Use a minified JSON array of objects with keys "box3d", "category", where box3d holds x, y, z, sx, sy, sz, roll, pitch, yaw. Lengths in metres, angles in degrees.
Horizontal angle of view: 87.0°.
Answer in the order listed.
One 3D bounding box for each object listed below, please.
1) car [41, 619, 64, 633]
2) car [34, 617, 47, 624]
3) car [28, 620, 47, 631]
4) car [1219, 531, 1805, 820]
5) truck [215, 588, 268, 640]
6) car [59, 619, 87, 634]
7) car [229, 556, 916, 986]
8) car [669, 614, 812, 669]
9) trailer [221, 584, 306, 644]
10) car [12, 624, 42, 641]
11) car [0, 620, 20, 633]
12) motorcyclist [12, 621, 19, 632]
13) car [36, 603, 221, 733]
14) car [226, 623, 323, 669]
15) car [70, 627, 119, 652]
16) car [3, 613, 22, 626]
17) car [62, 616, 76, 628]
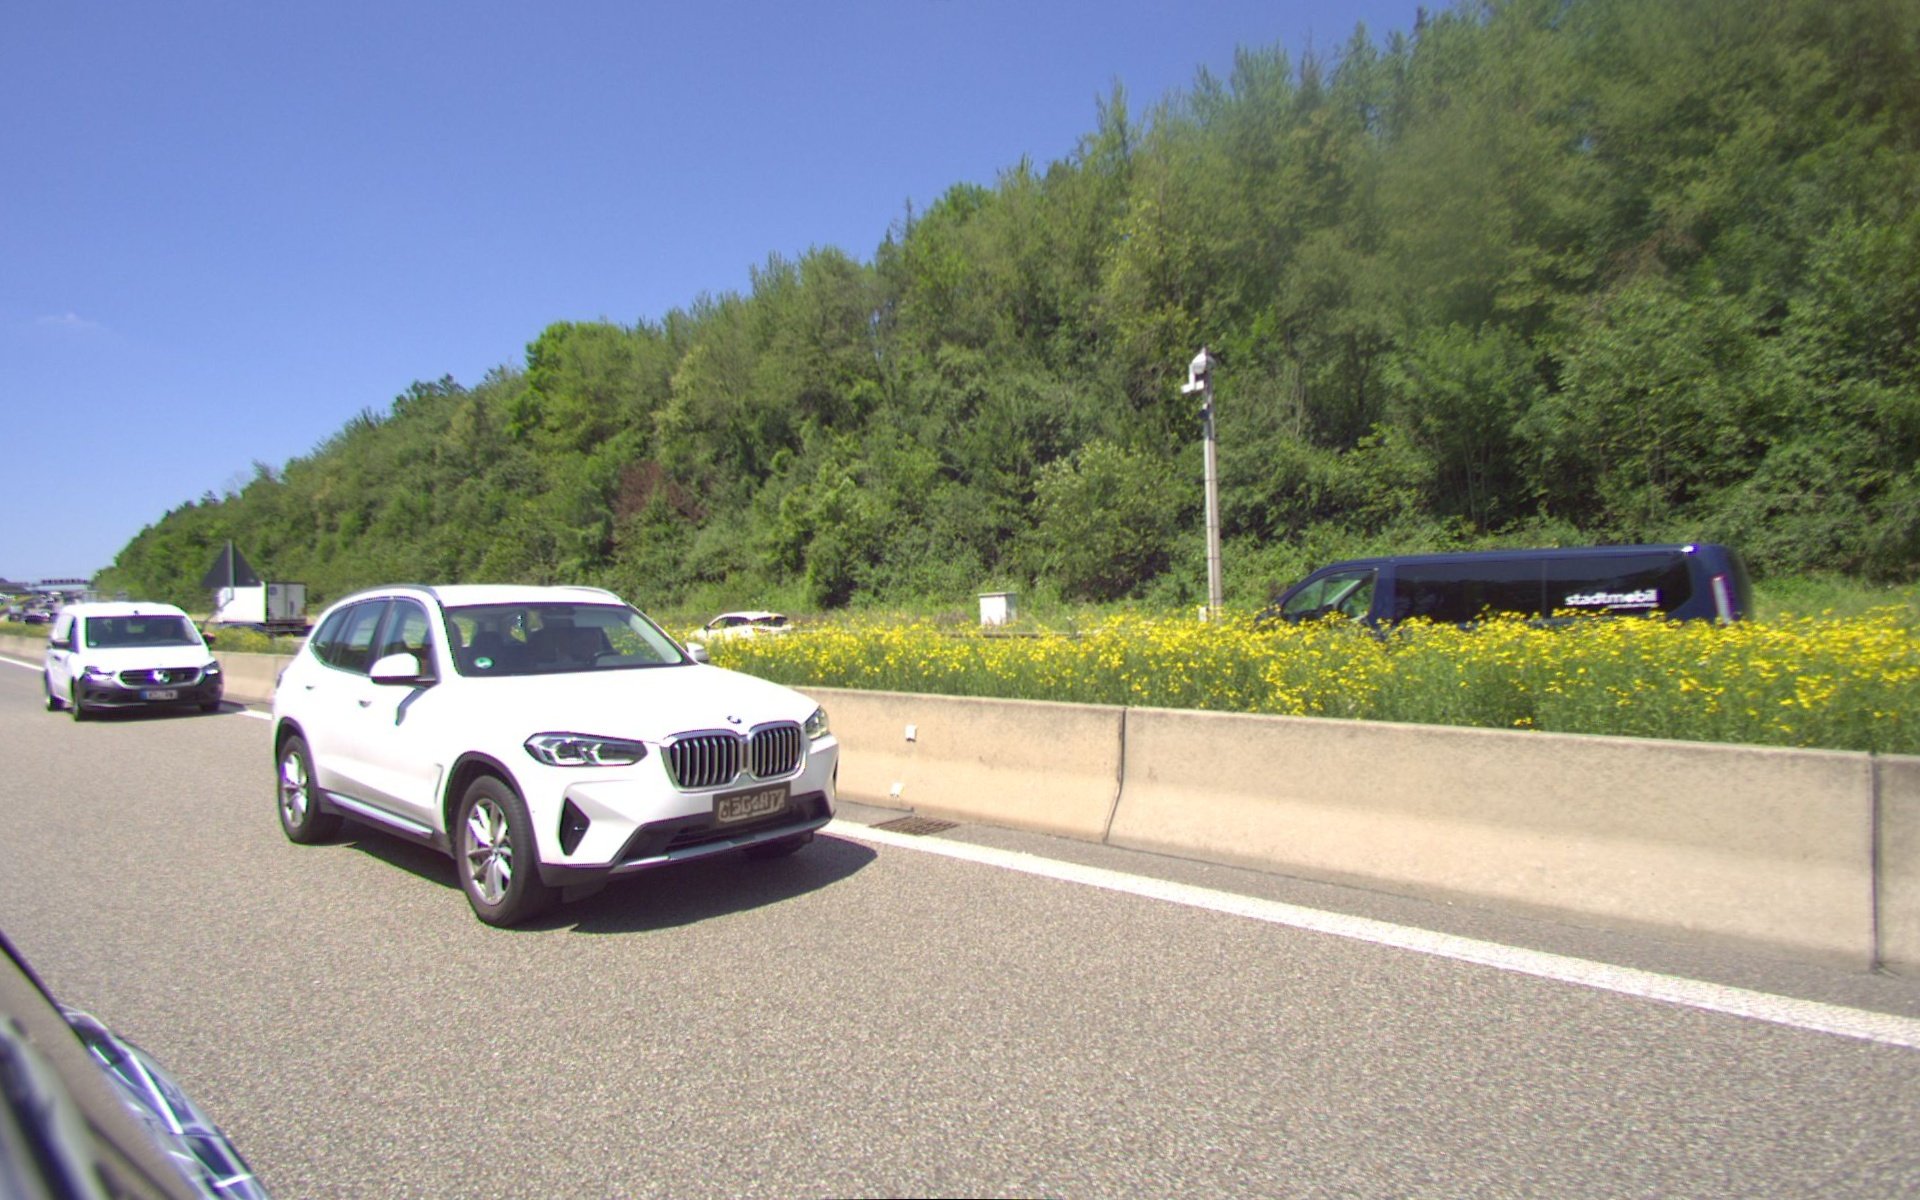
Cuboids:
[{"box3d":[-121.474,3.476,135.451,4.000,1.741,1.972,-1,-1,43],"category":"car"},{"box3d":[-177.508,3.992,195.358,3.508,1.399,1.650,-2,-1,43],"category":"car"},{"box3d":[-145.571,4.030,159.701,4.000,1.763,1.972,-1,-1,43],"category":"car"},{"box3d":[4.872,0.540,9.320,4.419,2.029,1.972,-1,0,42],"category":"car"},{"box3d":[-58.918,1.090,82.945,5.205,4.120,2.659,-1,0,44],"category":"truck"},{"box3d":[-98.203,2.925,112.016,3.979,1.654,1.928,-2,-1,42],"category":"car"},{"box3d":[-2.729,0.731,6.336,4.952,1.707,1.845,-2,-1,40],"category":"car"},{"box3d":[-6.448,1.141,29.527,4.169,1.453,1.973,-1,0,41],"category":"car"},{"box3d":[-53.945,1.041,78.136,13.936,4.239,2.685,-1,0,44],"category":"trailer"},{"box3d":[-96.008,3.328,104.107,4.079,1.691,1.972,-2,-1,42],"category":"car"},{"box3d":[-130.308,3.633,138.648,4.000,1.763,1.972,-1,-1,43],"category":"car"},{"box3d":[-115.979,3.209,124.257,0.577,1.344,0.616,-2,-1,43],"category":"motorcyclist"},{"box3d":[-13.733,1.019,16.611,4.674,1.826,1.746,-2,-1,43],"category":"car"},{"box3d":[-24.833,1.608,36.594,4.876,1.484,1.971,-1,0,45],"category":"car"},{"box3d":[-52.644,2.390,61.554,4.135,1.397,1.606,-1,-1,40],"category":"car"},{"box3d":[-157.680,3.259,168.434,4.901,2.029,1.971,-1,0,44],"category":"car"},{"box3d":[-155.215,3.742,176.292,1.614,2.029,4.003,0,0,-44],"category":"car"}]
